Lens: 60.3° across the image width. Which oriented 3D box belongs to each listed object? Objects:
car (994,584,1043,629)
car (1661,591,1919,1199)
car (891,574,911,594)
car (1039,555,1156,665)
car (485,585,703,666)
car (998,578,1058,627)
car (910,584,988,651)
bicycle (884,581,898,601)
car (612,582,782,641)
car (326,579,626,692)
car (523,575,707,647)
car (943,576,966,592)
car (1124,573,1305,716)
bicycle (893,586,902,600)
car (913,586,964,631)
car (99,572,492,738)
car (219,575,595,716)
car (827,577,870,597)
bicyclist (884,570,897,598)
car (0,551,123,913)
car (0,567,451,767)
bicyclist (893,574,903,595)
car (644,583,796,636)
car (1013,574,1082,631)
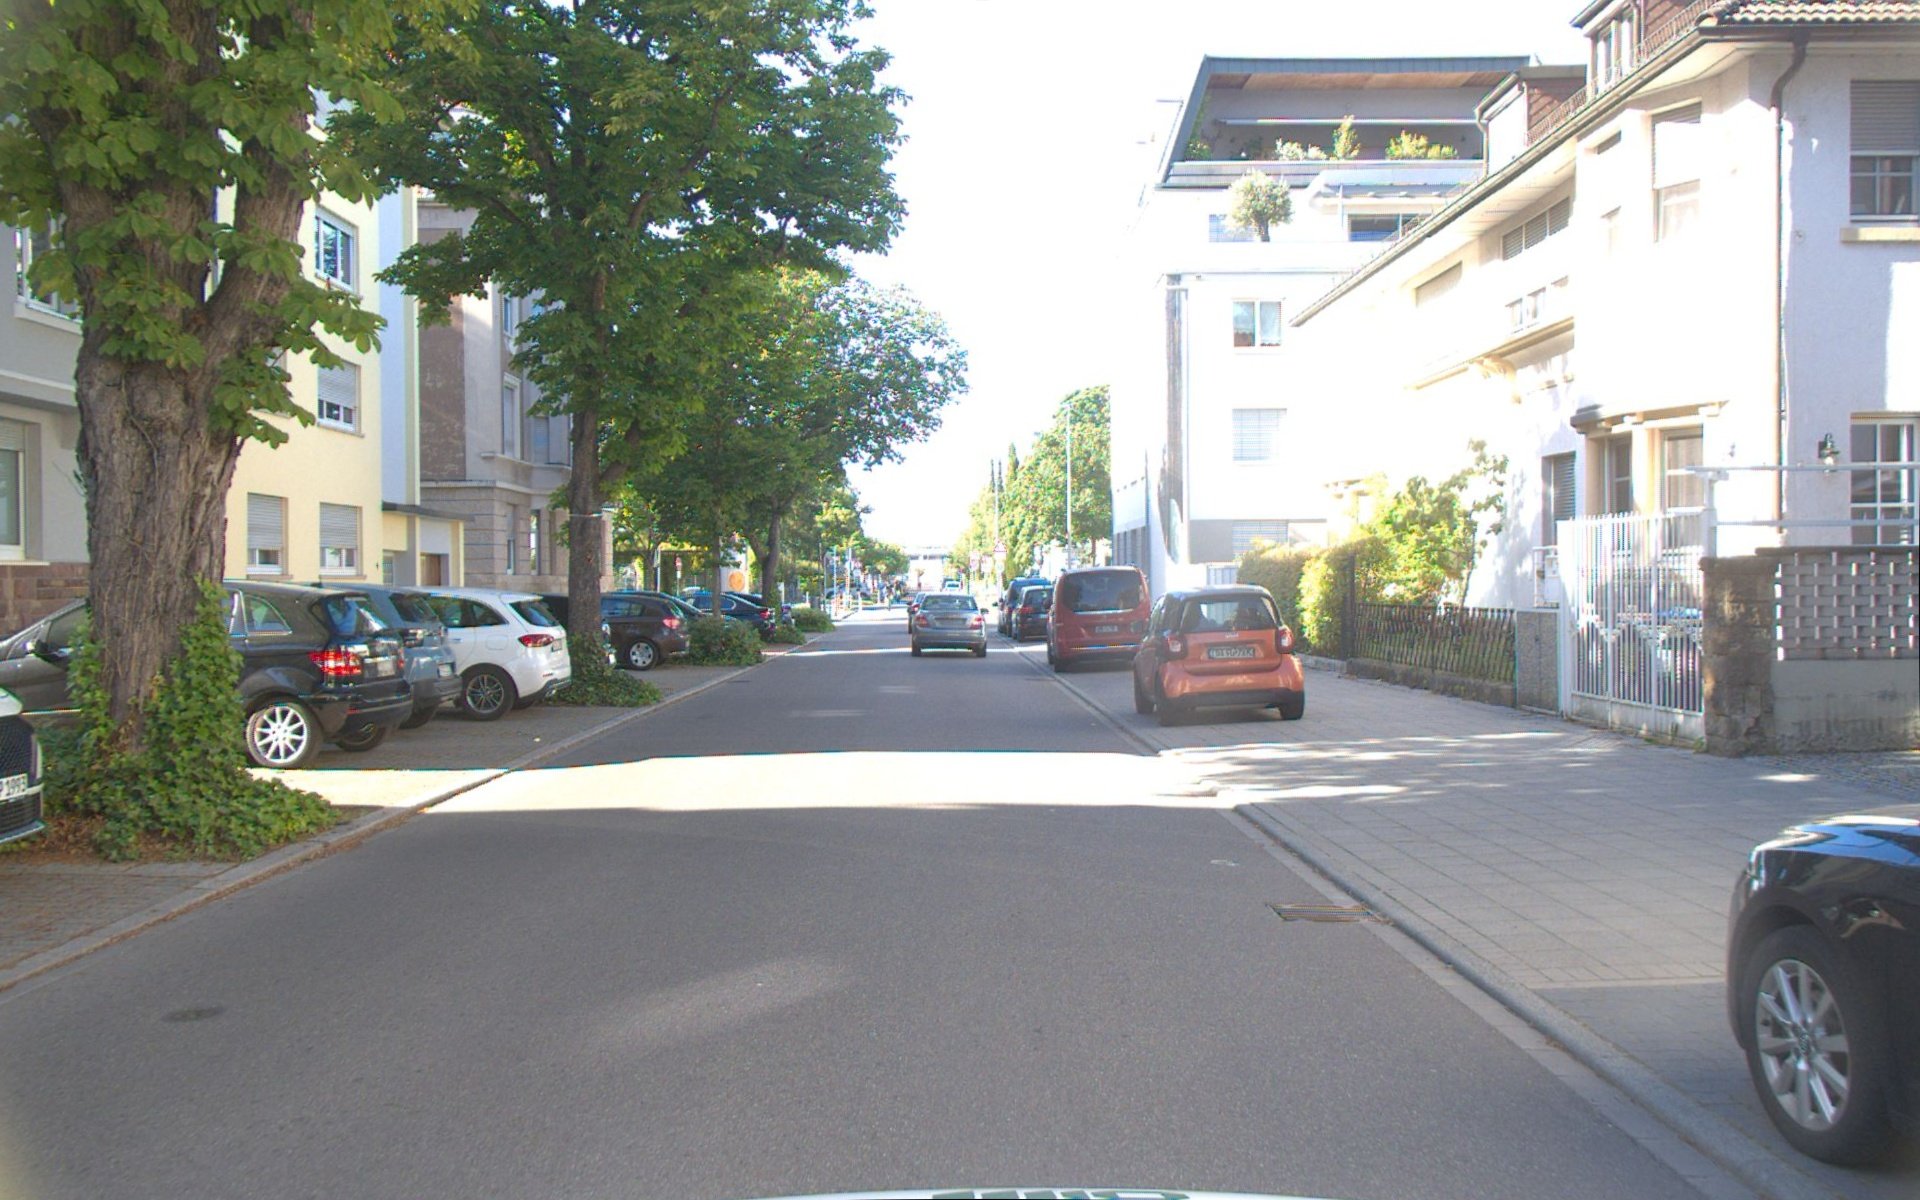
[{"bbox_3d":[2.078,0.248,59.247,1.532,1.435,3.729,-4,-1,0],"label":"car"},{"bbox_3d":[3.077,0.726,3.198,1.587,1.465,3.933,-3,1,-3],"label":"car"},{"bbox_3d":[-5.928,-1.589,164.862,1.752,1.559,3.995,-3,-3,-5],"label":"car"},{"bbox_3d":[2.600,0.195,32.406,1.833,1.938,5.197,-1,0,0],"label":"car"},{"bbox_3d":[-7.161,0.485,32.647,3.907,1.446,1.770,1,2,-2],"label":"car"},{"bbox_3d":[2.209,0.106,54.797,1.648,1.460,4.264,-4,-1,-1],"label":"car"},{"bbox_3d":[-0.241,0.422,38.900,1.691,1.445,3.960,2,-1,0],"label":"car"},{"bbox_3d":[-3.940,-0.517,94.519,0.705,1.098,1.890,-1,0,-1],"label":"bicycle"},{"bbox_3d":[-7.141,0.324,45.315,4.384,1.505,1.867,1,-1,-3],"label":"car"},{"bbox_3d":[-6.964,0.523,24.185,3.949,1.469,1.796,2,-1,-10],"label":"car"},{"bbox_3d":[-8.115,0.278,39.232,4.094,1.526,1.996,2,-1,-8],"label":"car"},{"bbox_3d":[-0.500,-1.406,143.916,1.689,1.353,3.996,-1,1,-5],"label":"car"},{"bbox_3d":[2.956,0.477,19.771,1.560,1.506,3.246,-2,0,-1],"label":"car"},{"bbox_3d":[-4.490,-0.497,119.233,0.577,0.948,1.850,0,1,0],"label":"bicycle"},{"bbox_3d":[-0.785,0.310,57.766,1.672,1.473,4.201,2,-1,-2],"label":"car"},{"bbox_3d":[-7.022,0.547,17.728,3.442,1.602,1.771,1,0,2],"label":"car"},{"bbox_3d":[-6.626,0.525,20.147,3.941,1.510,1.806,2,0,-2],"label":"car"},{"bbox_3d":[-9.215,-1.059,136.132,3.428,1.560,1.642,-1,1,-8],"label":"car"},{"bbox_3d":[-3.967,-0.909,94.616,0.706,1.563,1.137,-1,0,-1],"label":"bicyclist"},{"bbox_3d":[-6.629,0.661,7.866,4.296,1.681,1.823,-1,2,0],"label":"car"},{"bbox_3d":[-6.905,0.550,14.979,3.904,1.602,1.981,1,0,2],"label":"car"},{"bbox_3d":[-4.453,-1.113,119.182,0.666,1.535,0.655,0,0,0],"label":"bicyclist"},{"bbox_3d":[-7.291,0.306,50.607,4.384,1.505,1.867,1,-1,-3],"label":"car"},{"bbox_3d":[2.543,0.040,48.844,1.701,1.558,4.178,-1,1,-1],"label":"car"}]
